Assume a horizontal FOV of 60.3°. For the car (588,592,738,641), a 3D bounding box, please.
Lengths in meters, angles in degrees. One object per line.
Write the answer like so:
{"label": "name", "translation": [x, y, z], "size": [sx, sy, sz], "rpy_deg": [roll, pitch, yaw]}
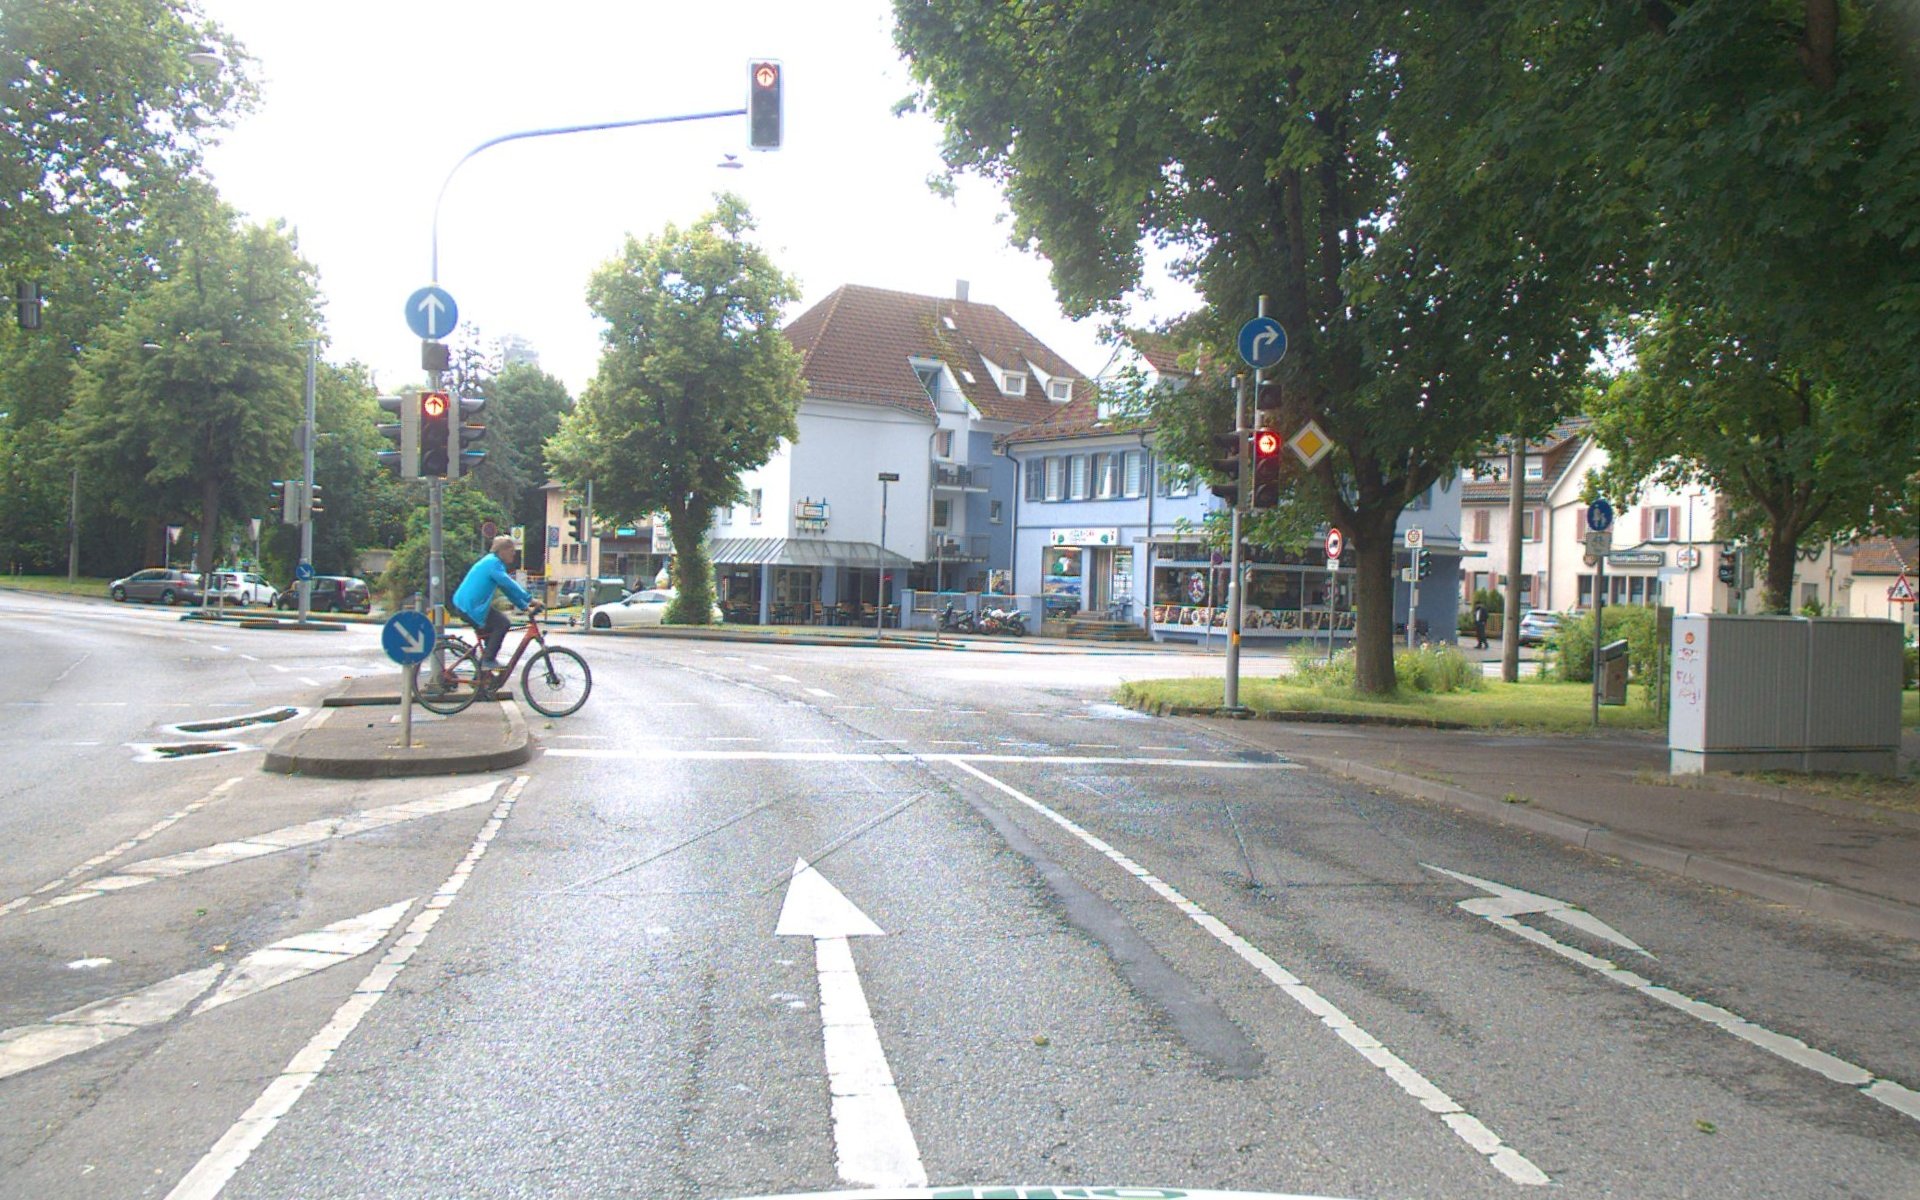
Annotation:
{"label": "car", "translation": [-9.708, 0.507, 54.040], "size": [4.486, 1.544, 1.999], "rpy_deg": [0, 0, 25]}

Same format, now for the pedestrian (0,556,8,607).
{"label": "pedestrian", "translation": [-42.546, -0.809, 72.792], "size": [0.841, 2.216, 0.775], "rpy_deg": [0, 0, 28]}

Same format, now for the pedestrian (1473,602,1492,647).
{"label": "pedestrian", "translation": [18.350, 0.866, 58.117], "size": [0.400, 1.579, 0.494], "rpy_deg": [0, 0, -38]}

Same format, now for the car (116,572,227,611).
{"label": "car", "translation": [-33.018, -0.360, 69.265], "size": [3.903, 1.601, 2.001], "rpy_deg": [0, 0, 18]}

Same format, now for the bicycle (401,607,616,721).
{"label": "bicycle", "translation": [-4.611, 0.645, 16.873], "size": [2.039, 1.101, 0.936], "rpy_deg": [1, 0, -20]}

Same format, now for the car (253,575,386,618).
{"label": "car", "translation": [-23.497, -0.145, 60.637], "size": [4.486, 1.544, 1.999], "rpy_deg": [0, 0, 25]}

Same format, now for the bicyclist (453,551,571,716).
{"label": "bicyclist", "translation": [-4.580, 0.336, 16.878], "size": [1.082, 1.627, 0.936], "rpy_deg": [1, 0, -19]}

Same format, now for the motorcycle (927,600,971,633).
{"label": "motorcycle", "translation": [-0.401, 0.576, 59.571], "size": [1.465, 1.126, 0.560], "rpy_deg": [0, 5, 23]}

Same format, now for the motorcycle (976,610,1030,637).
{"label": "motorcycle", "translation": [1.516, 0.821, 58.157], "size": [1.800, 0.862, 0.560], "rpy_deg": [0, 5, 27]}

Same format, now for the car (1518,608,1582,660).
{"label": "car", "translation": [22.787, 1.277, 63.824], "size": [1.820, 1.898, 3.556], "rpy_deg": [0, 0, 28]}

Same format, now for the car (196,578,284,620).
{"label": "car", "translation": [-31.478, -0.050, 72.383], "size": [1.952, 1.803, 4.001], "rpy_deg": [0, 0, 3]}

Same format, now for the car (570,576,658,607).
{"label": "car", "translation": [-17.135, -0.401, 81.951], "size": [3.943, 1.512, 1.743], "rpy_deg": [0, 0, -29]}
